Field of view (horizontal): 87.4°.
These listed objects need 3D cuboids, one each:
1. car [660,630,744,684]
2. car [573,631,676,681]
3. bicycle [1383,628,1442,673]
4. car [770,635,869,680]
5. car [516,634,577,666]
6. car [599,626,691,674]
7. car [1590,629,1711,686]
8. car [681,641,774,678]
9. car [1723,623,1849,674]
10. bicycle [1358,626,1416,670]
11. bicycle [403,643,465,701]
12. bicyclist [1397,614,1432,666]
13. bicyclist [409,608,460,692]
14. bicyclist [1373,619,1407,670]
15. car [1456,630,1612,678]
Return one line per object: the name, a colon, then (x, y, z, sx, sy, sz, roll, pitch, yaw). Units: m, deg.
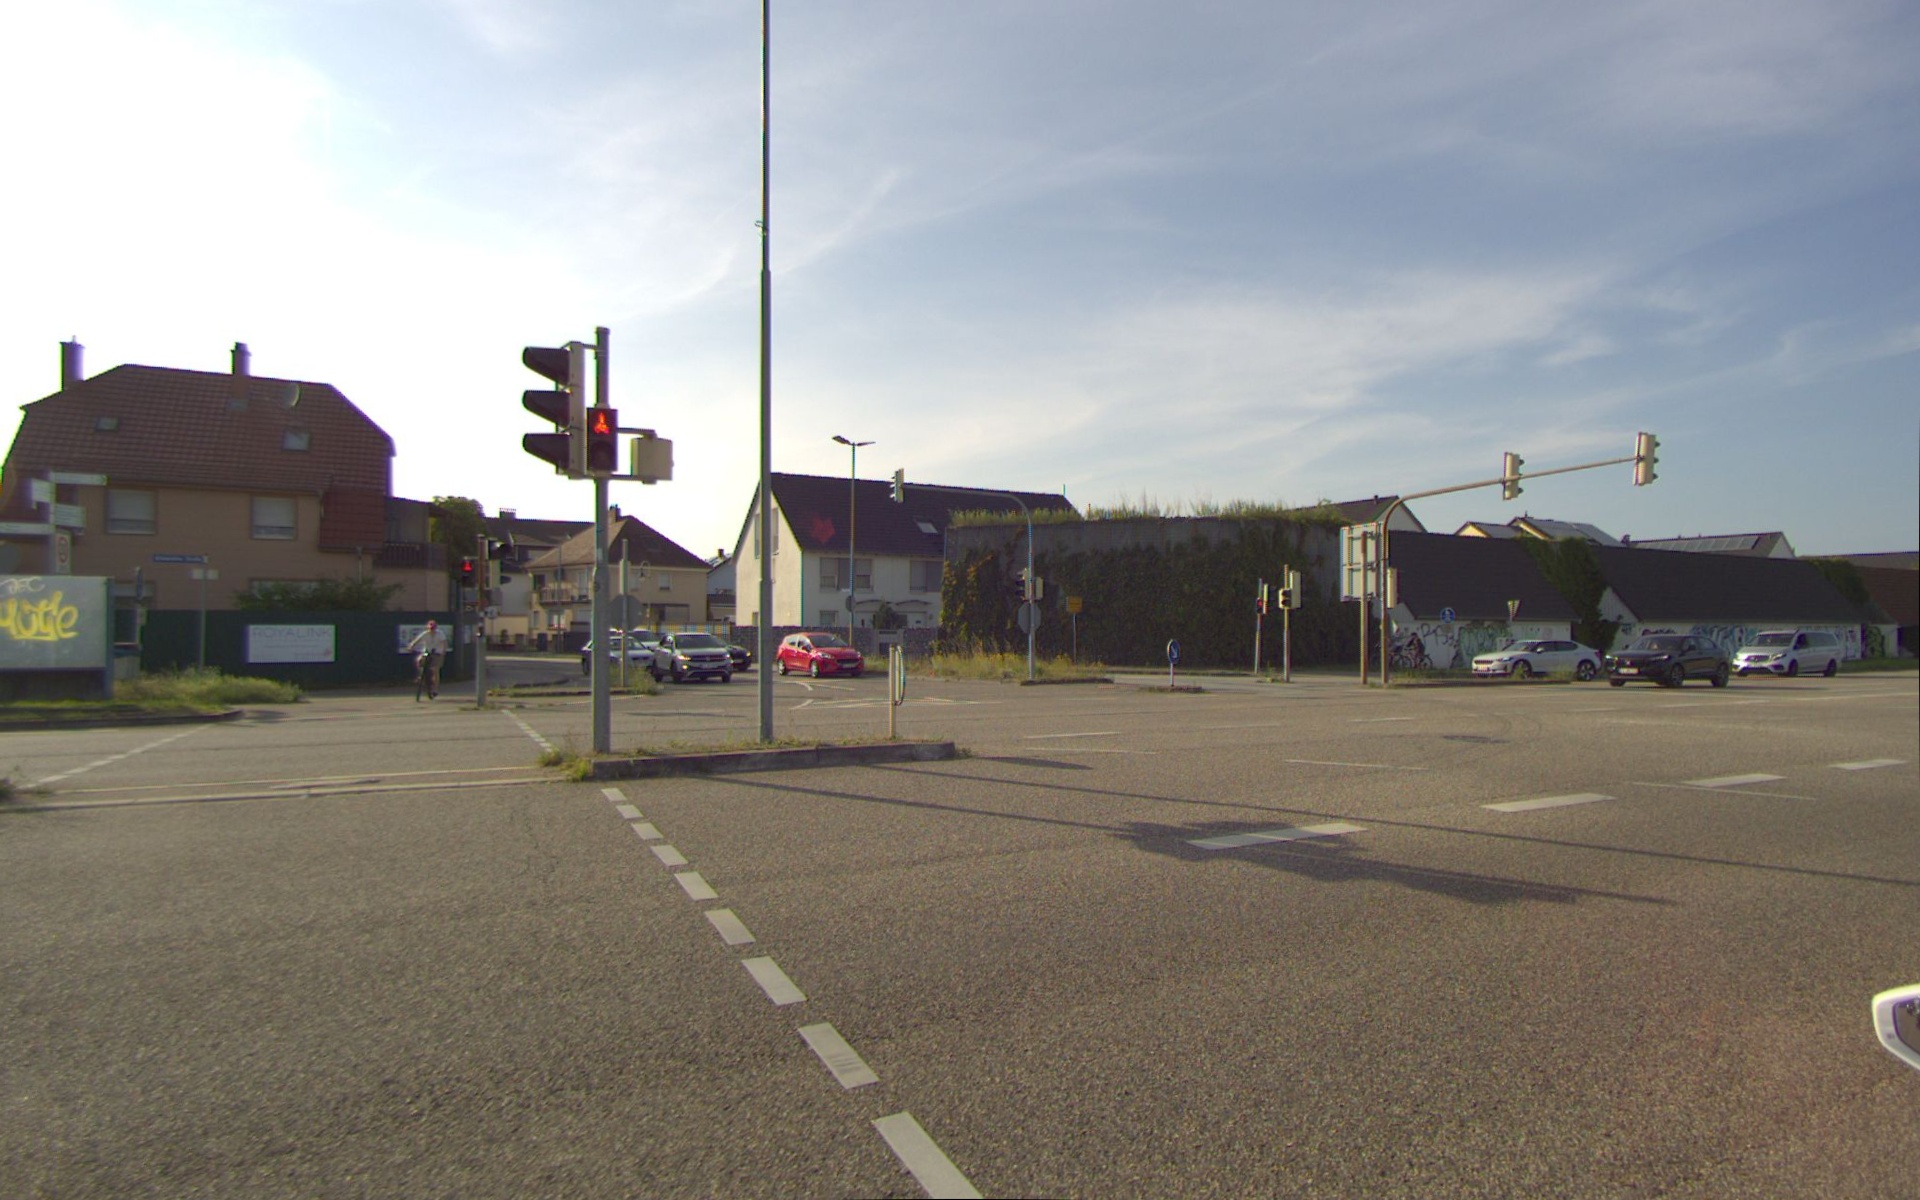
car: (-8.177, 1.803, 31.604, 1.735, 1.583, 3.973, 2, -4, -27)
car: (-12.431, 2.023, 37.107, 3.940, 1.585, 1.817, 1, 0, 40)
bicycle: (18.310, 2.045, 40.597, 2.575, 1.772, 0.750, 2, 0, -29)
car: (-4.868, 1.971, 34.302, 1.625, 1.431, 4.265, 1, -4, -34)
car: (-22.003, 2.622, 53.408, 3.377, 1.506, 1.777, 1, 0, 43)
car: (-13.900, 2.160, 44.182, 4.120, 1.840, 1.990, 1, 0, 41)
car: (20.421, 1.690, 29.656, 4.209, 1.561, 1.719, 2, -4, -38)
car: (-9.041, 2.286, 38.988, 3.561, 1.193, 1.748, 1, 0, 41)
car: (33.483, 1.996, 40.702, 5.383, 1.953, 1.901, 2, -4, -27)
bicycle: (17.697, 1.997, 41.641, 2.575, 1.772, 0.750, 2, 0, -29)
bicycle: (-11.622, 1.566, 22.274, 0.889, 1.207, 2.153, 2, -2, -19)
bicyclist: (18.357, 1.617, 40.567, 1.049, 2.040, 0.767, 2, 0, -29)
bicyclist: (-11.545, 1.111, 22.111, 0.834, 1.810, 0.853, 2, -4, -20)
bicyclist: (17.840, 1.847, 41.684, 1.049, 2.040, 0.767, 2, 0, -29)
car: (20.344, 1.911, 35.678, 4.678, 1.517, 1.951, 2, 0, -12)
